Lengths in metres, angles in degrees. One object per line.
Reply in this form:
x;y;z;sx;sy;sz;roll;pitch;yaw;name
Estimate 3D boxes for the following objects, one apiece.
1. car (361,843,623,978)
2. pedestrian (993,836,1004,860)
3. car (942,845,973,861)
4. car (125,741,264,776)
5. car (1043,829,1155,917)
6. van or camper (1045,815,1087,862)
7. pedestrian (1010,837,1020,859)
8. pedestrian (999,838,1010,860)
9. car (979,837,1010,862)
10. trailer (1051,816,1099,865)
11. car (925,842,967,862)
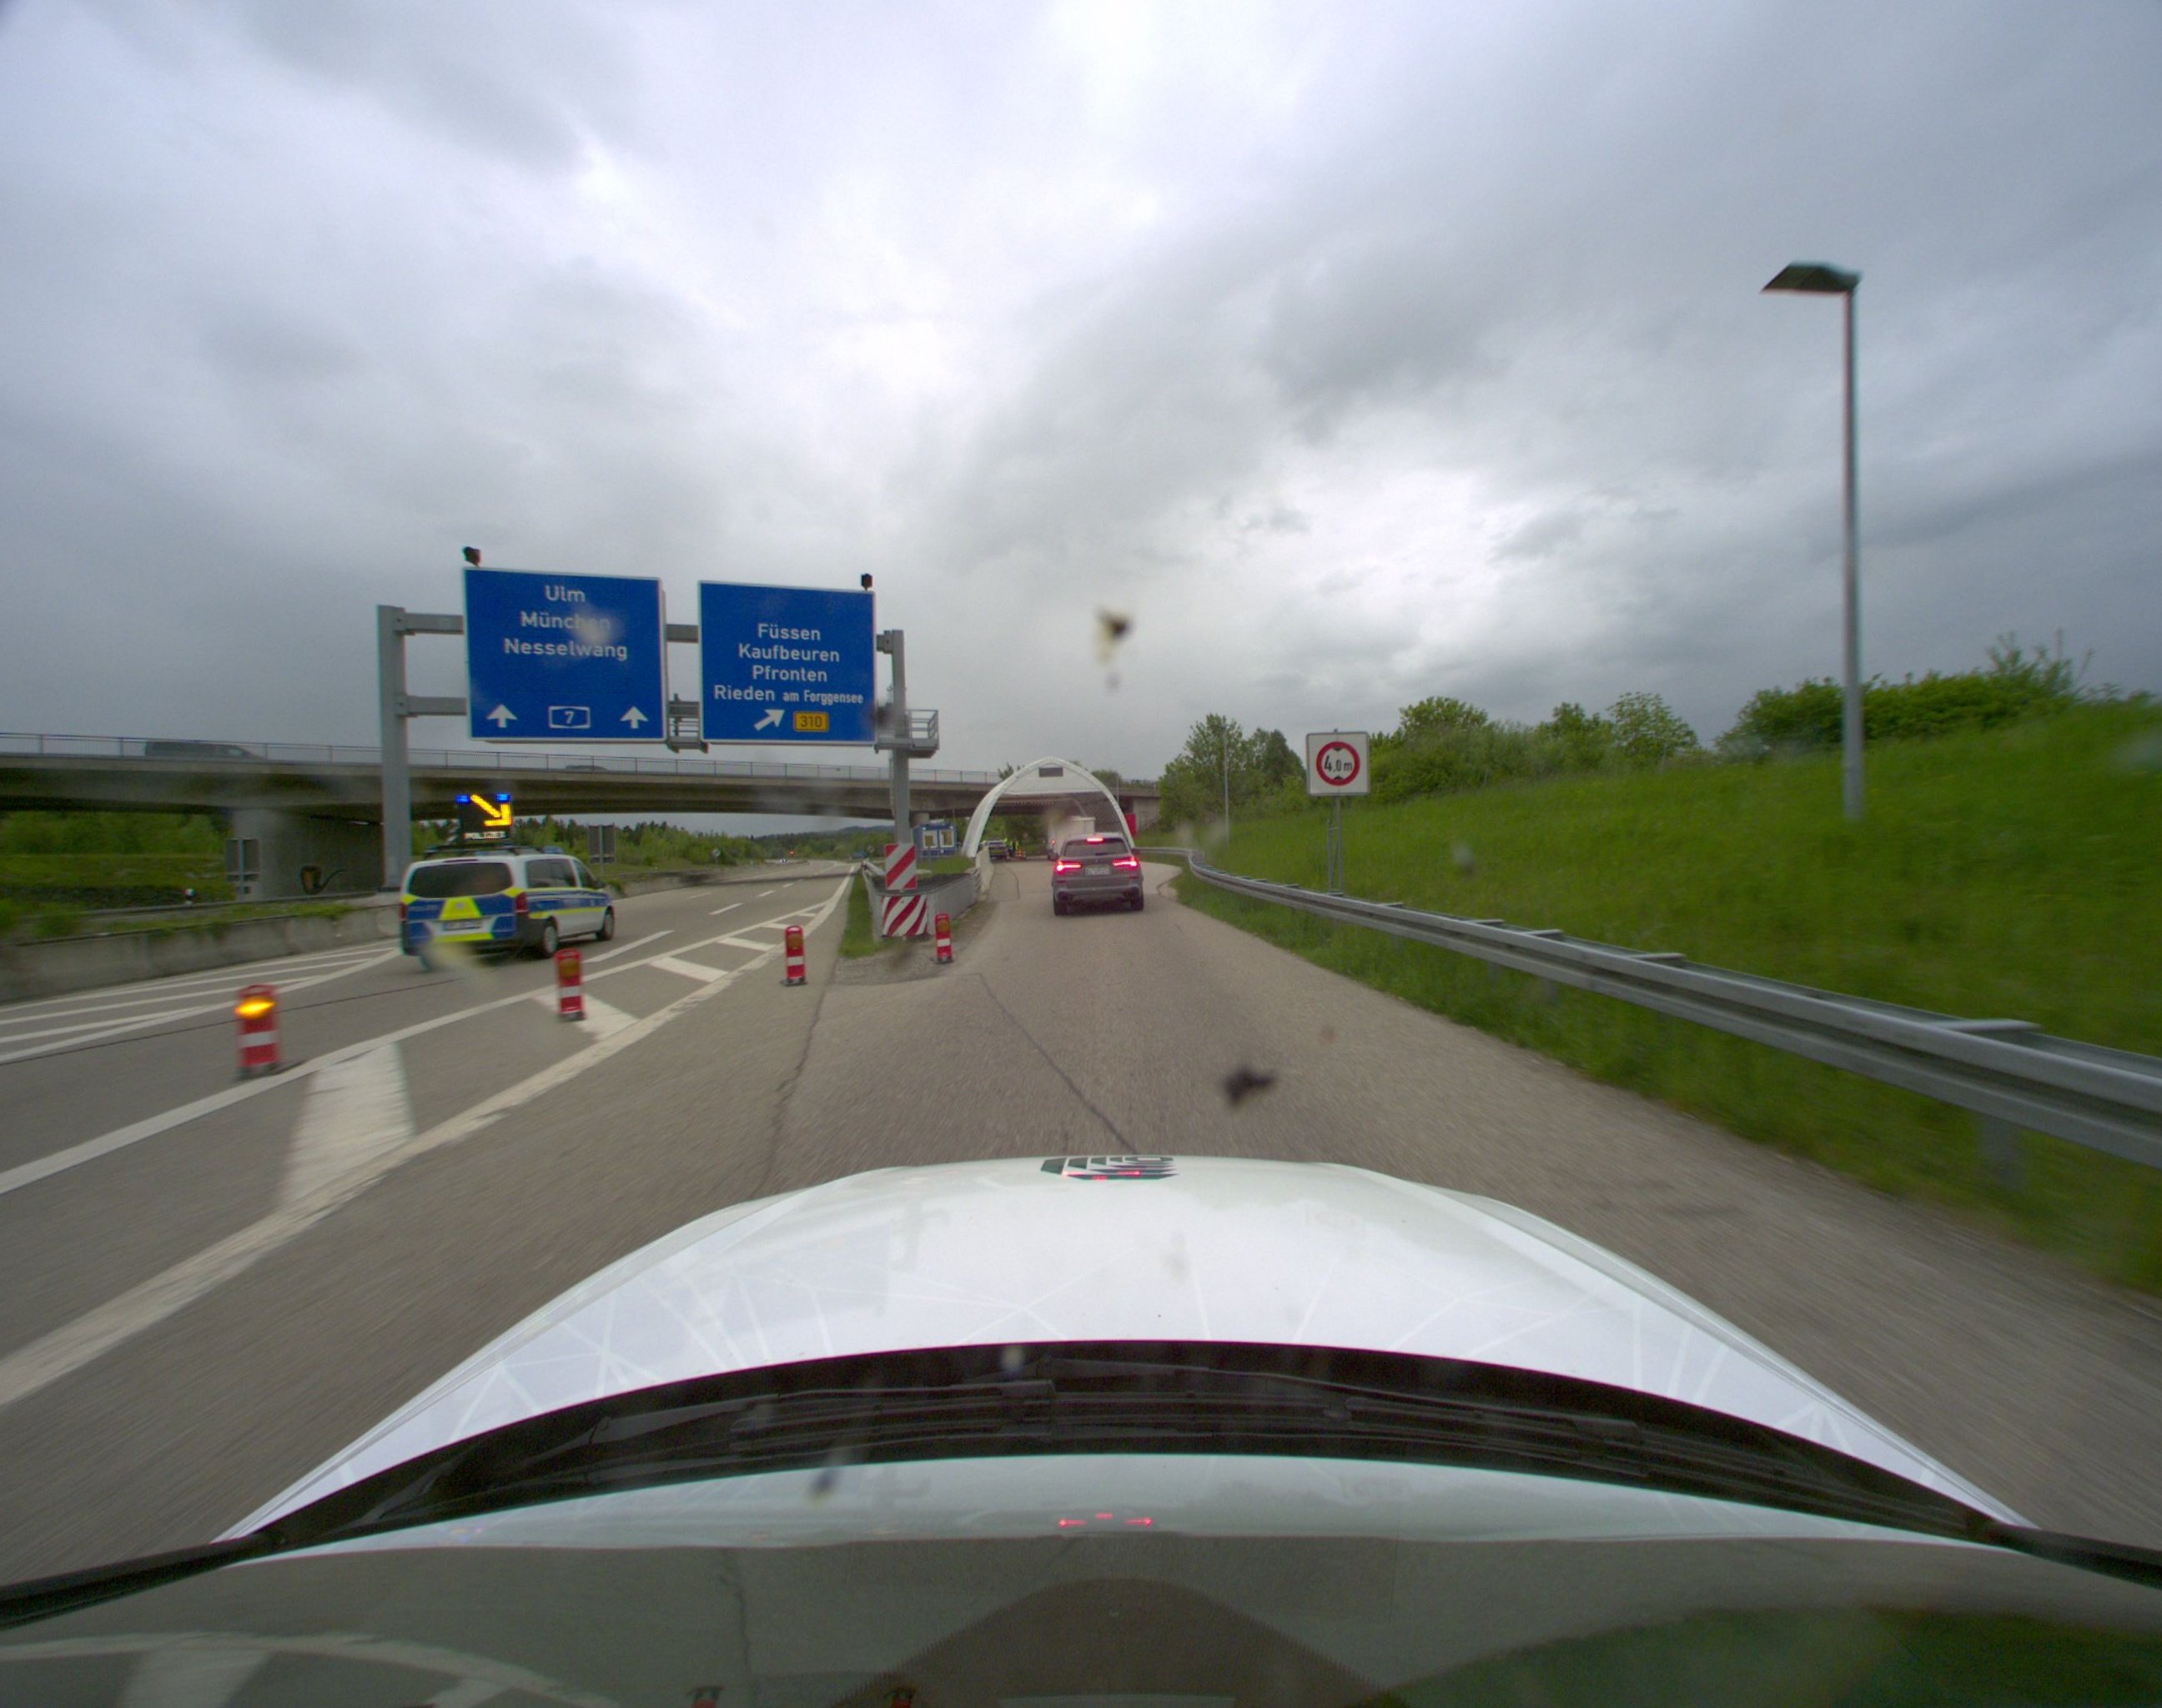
-10.817;0.883;15.571;2.290;2.013;5.024;-3;1;-15;car
-6.814;-0.487;67.221;0.720;1.945;0.687;-4;0;-11;pedestrian
-11.978;-0.092;78.762;1.527;1.442;3.278;-4;1;-37;car
-49.527;-5.312;45.680;4.964;1.647;1.977;-4;1;-38;car
0.549;0.372;18.827;1.982;1.719;4.010;-3;0;9;car
-1.050;-0.920;52.102;2.154;2.763;5.860;-3;0;-5;van or camper
-5.485;-0.496;67.296;0.649;1.775;0.603;-4;0;-13;pedestrian
-6.236;-0.412;66.297;0.720;1.775;0.687;-4;0;-11;pedestrian
-6.806;-0.369;63.712;1.995;1.771;3.751;-4;1;-11;car
-0.438;-0.683;45.766;2.274;2.430;6.809;-3;0;-3;trailer
-14.249;-0.210;86.147;3.969;1.854;1.711;-4;1;4;car
